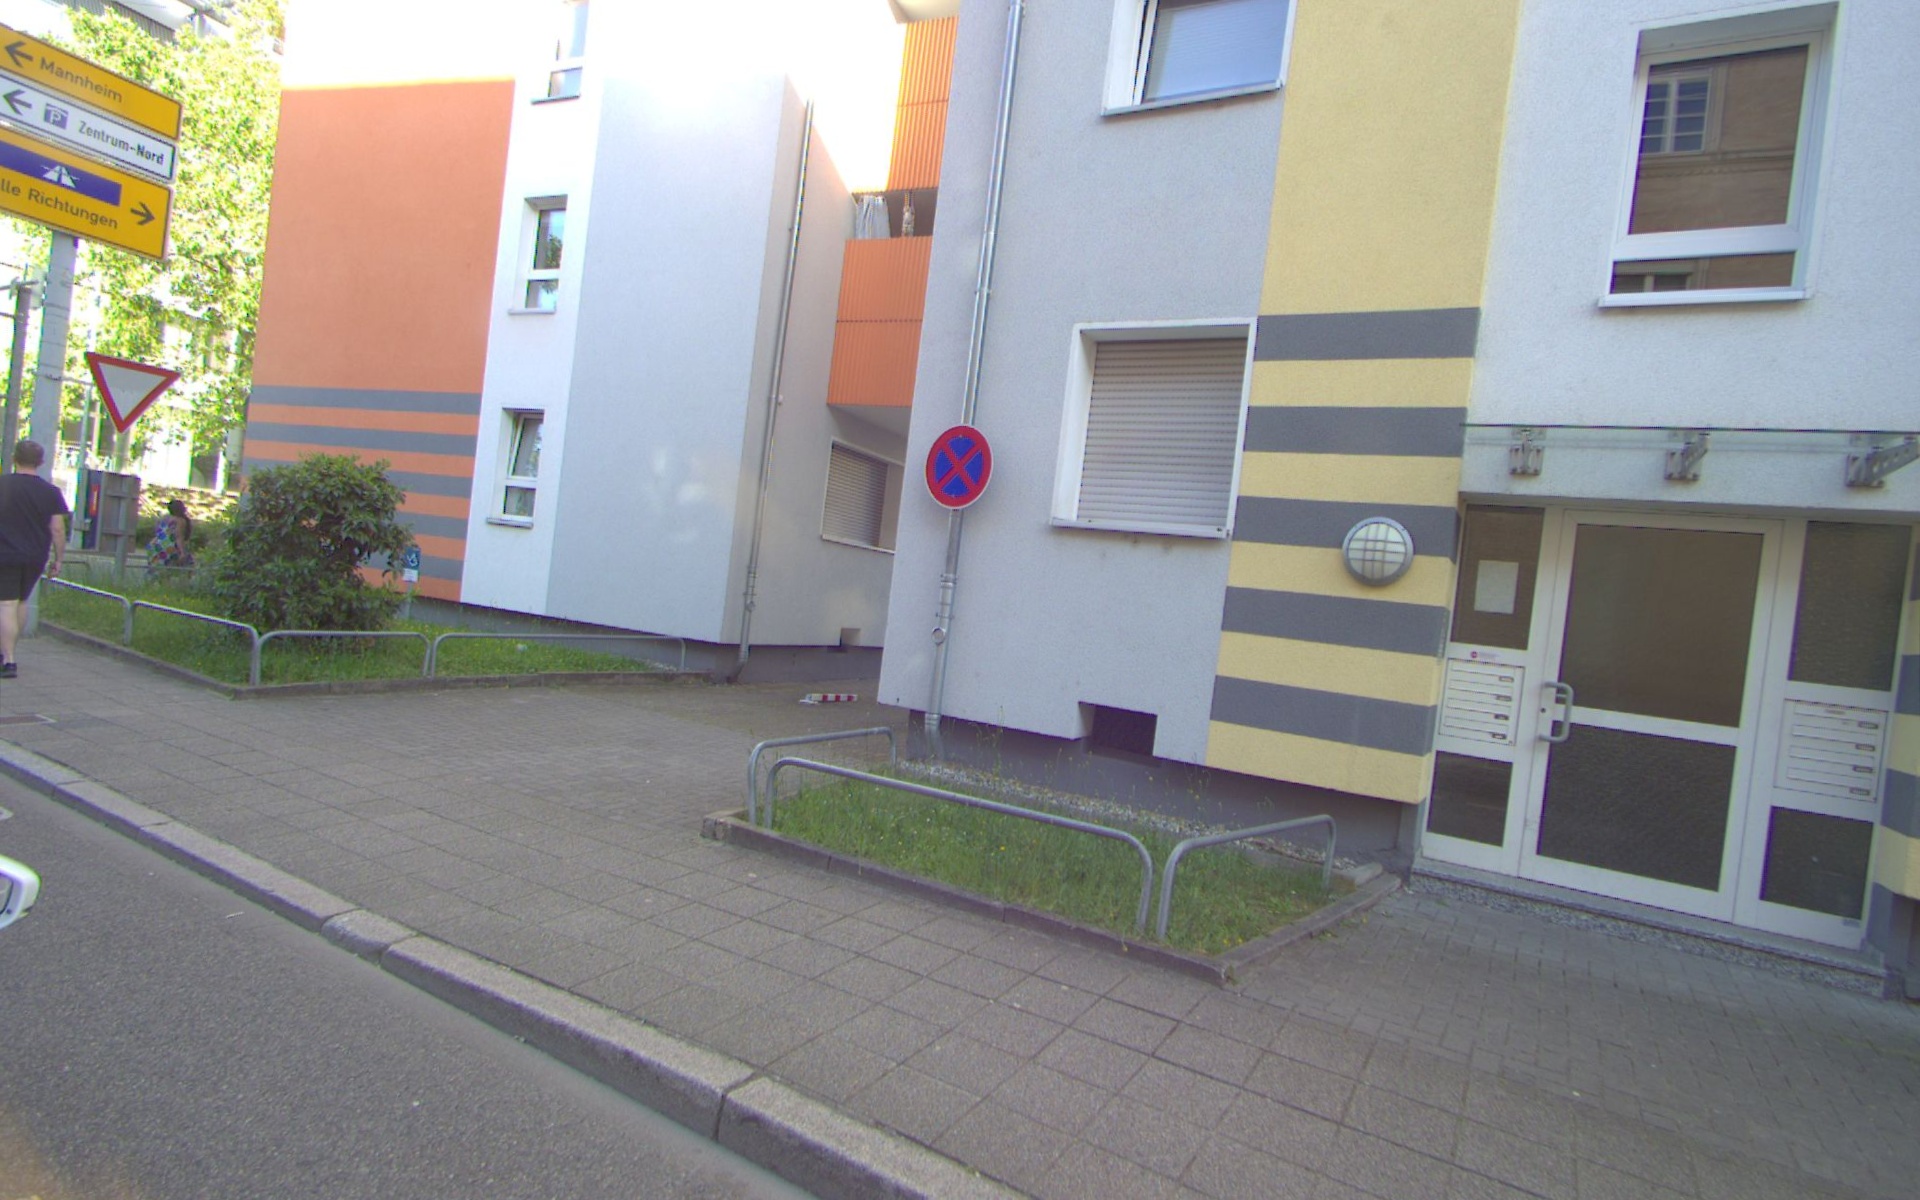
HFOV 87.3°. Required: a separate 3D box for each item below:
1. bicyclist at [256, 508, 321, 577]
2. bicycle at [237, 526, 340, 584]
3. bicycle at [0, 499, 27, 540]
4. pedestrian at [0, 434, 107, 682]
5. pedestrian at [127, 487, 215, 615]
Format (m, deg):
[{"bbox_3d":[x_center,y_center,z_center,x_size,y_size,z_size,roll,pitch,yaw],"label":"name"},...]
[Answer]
[{"bbox_3d":[-16.628,-1.426,24.919,0.583,1.546,1.075,8,1,37],"label":"bicyclist"},{"bbox_3d":[-16.630,-1.103,24.961,0.583,1.166,1.963,7,0,37],"label":"bicycle"},{"bbox_3d":[-26.390,-2.251,27.389,1.409,1.021,0.379,7,1,-11],"label":"bicycle"},{"bbox_3d":[-7.368,-0.325,7.869,0.708,1.831,0.701,6,-1,32],"label":"pedestrian"},{"bbox_3d":[-12.120,-0.729,15.470,0.692,1.831,0.716,7,-1,-21],"label":"pedestrian"}]
